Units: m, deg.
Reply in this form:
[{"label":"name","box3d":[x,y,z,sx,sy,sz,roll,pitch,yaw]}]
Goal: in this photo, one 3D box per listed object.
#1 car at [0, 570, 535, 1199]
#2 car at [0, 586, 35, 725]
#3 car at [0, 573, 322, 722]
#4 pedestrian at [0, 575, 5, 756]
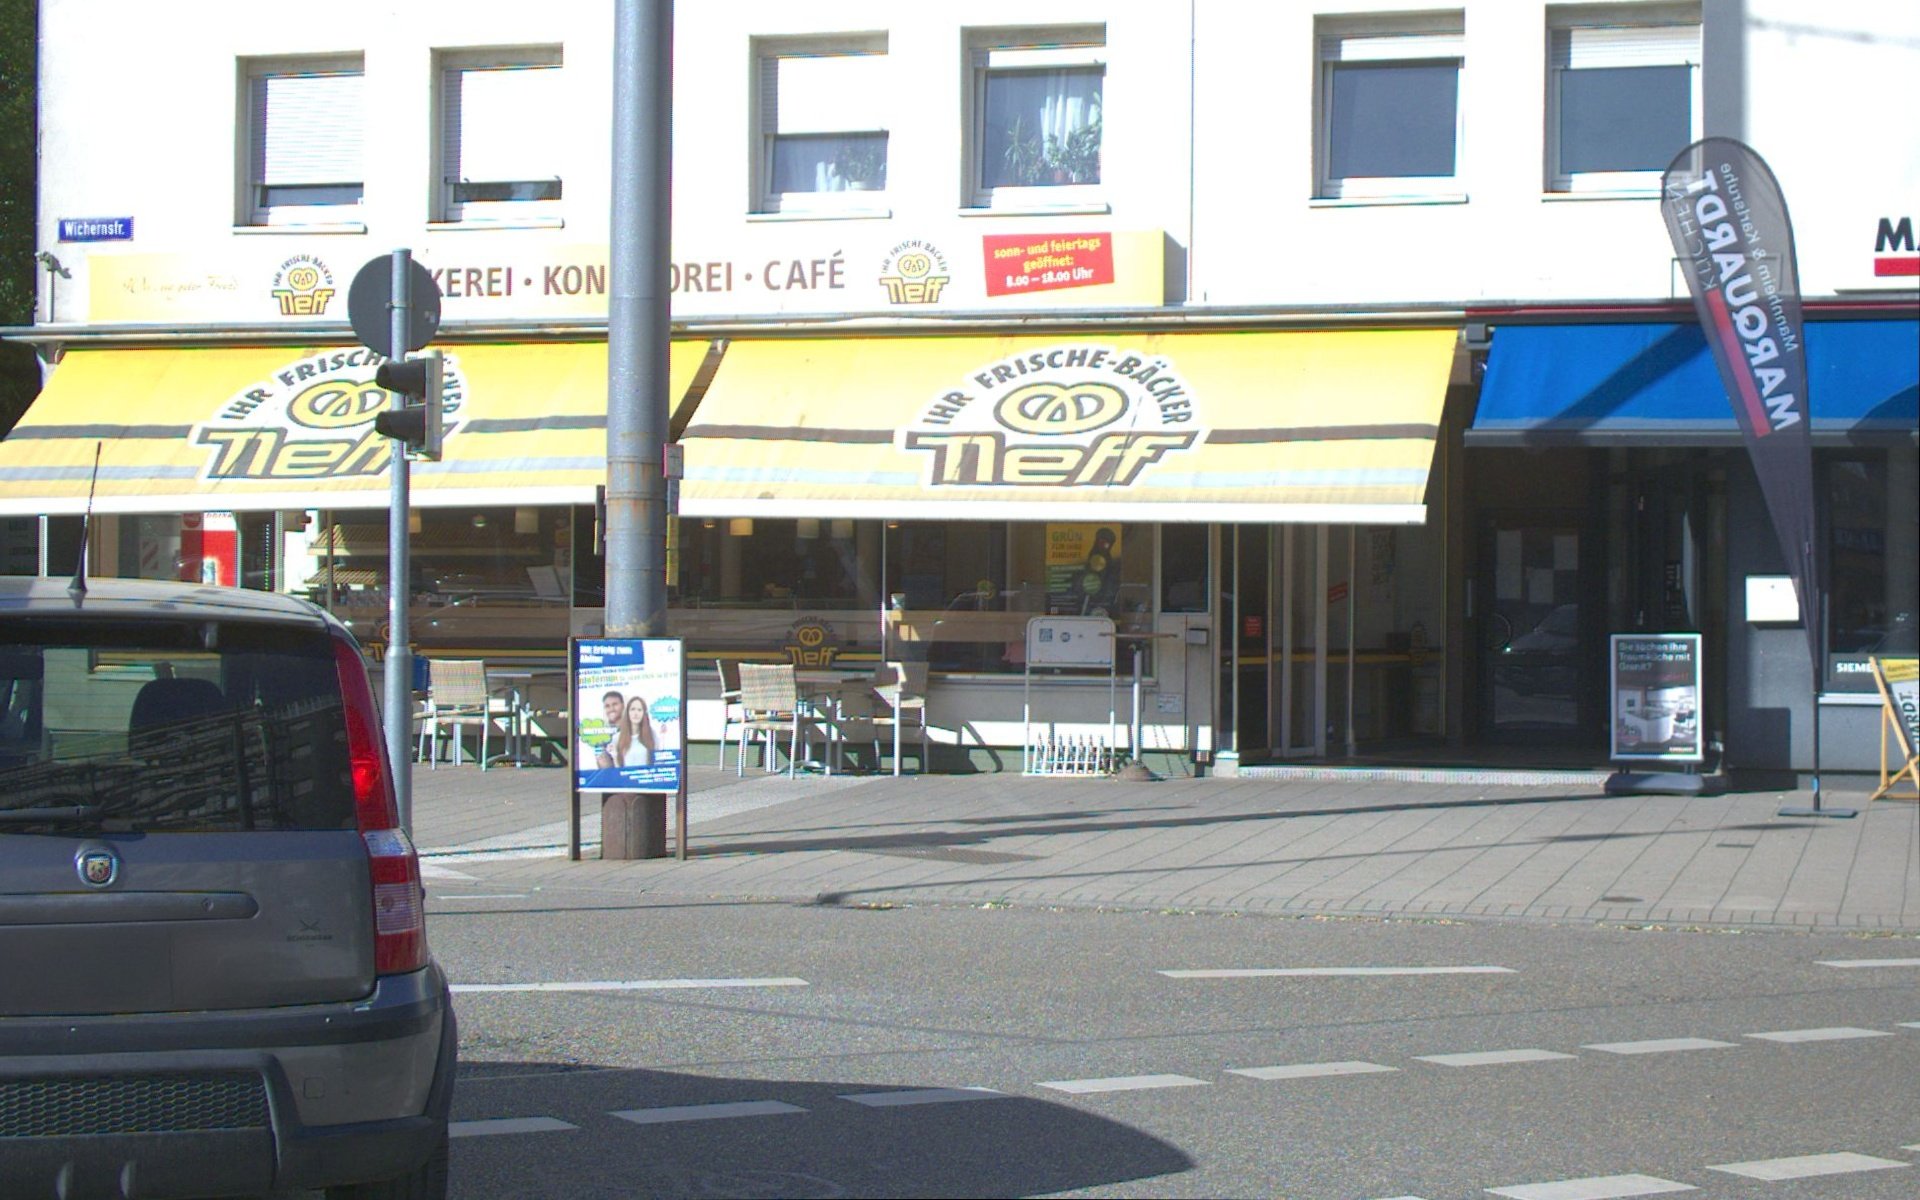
[{"label":"car","box3d":[-2.246,0.683,8.376,1.659,1.505,3.252,1,0,-21]},{"label":"car","box3d":[-10.432,0.507,31.293,1.995,1.306,3.996,1,0,18]},{"label":"car","box3d":[-8.791,0.480,37.282,1.938,1.507,3.935,1,0,20]},{"label":"pedestrian","box3d":[-9.052,0.586,30.566,0.792,1.616,0.829,0,0,11]}]
